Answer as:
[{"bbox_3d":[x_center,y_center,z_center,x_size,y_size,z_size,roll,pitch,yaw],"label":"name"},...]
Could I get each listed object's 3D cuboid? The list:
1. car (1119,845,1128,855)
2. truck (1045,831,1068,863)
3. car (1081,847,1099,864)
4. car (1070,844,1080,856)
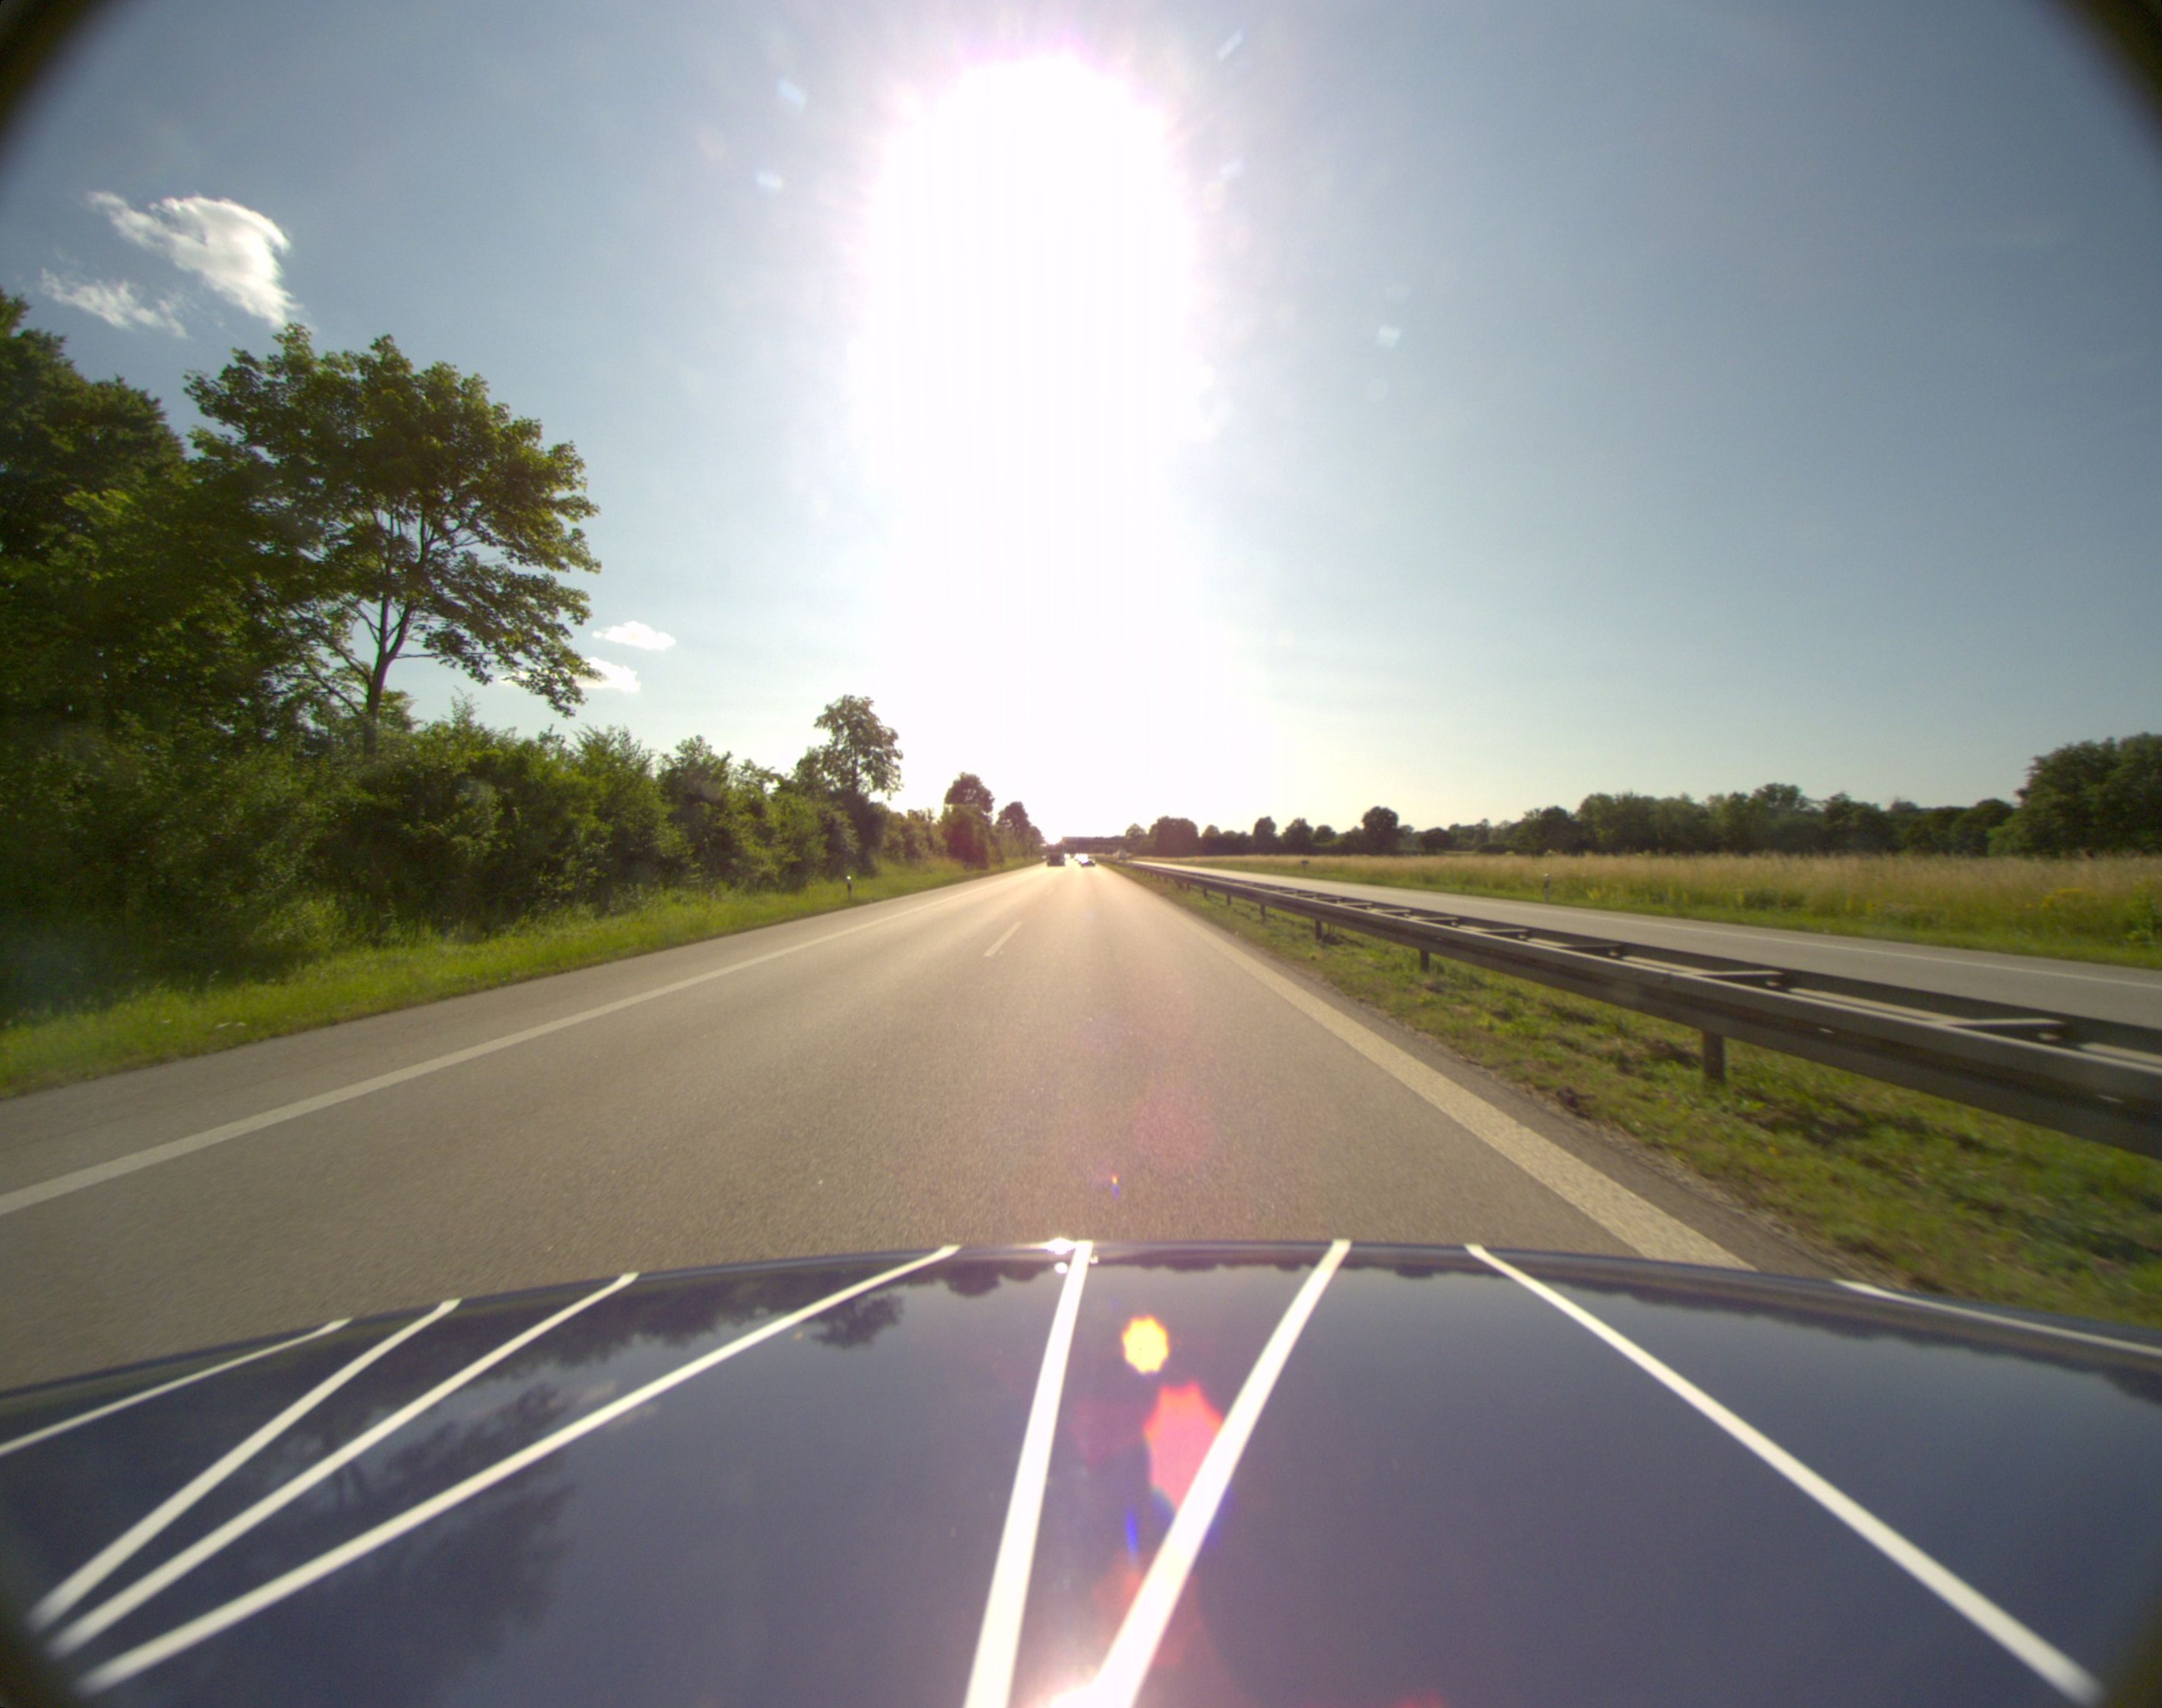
[{"bbox_3d":[11.032,-1.157,197.255,2.193,2.502,5.351,-2,1,1],"label":"car"},{"bbox_3d":[-3.449,-1.012,109.823,2.759,4.242,8.492,-2,1,1],"label":"truck"},{"bbox_3d":[1.134,0.212,94.562,1.998,2.002,4.358,-2,1,1],"label":"car"},{"bbox_3d":[-1.304,-0.944,176.178,2.193,2.502,5.351,-2,1,1],"label":"car"}]
